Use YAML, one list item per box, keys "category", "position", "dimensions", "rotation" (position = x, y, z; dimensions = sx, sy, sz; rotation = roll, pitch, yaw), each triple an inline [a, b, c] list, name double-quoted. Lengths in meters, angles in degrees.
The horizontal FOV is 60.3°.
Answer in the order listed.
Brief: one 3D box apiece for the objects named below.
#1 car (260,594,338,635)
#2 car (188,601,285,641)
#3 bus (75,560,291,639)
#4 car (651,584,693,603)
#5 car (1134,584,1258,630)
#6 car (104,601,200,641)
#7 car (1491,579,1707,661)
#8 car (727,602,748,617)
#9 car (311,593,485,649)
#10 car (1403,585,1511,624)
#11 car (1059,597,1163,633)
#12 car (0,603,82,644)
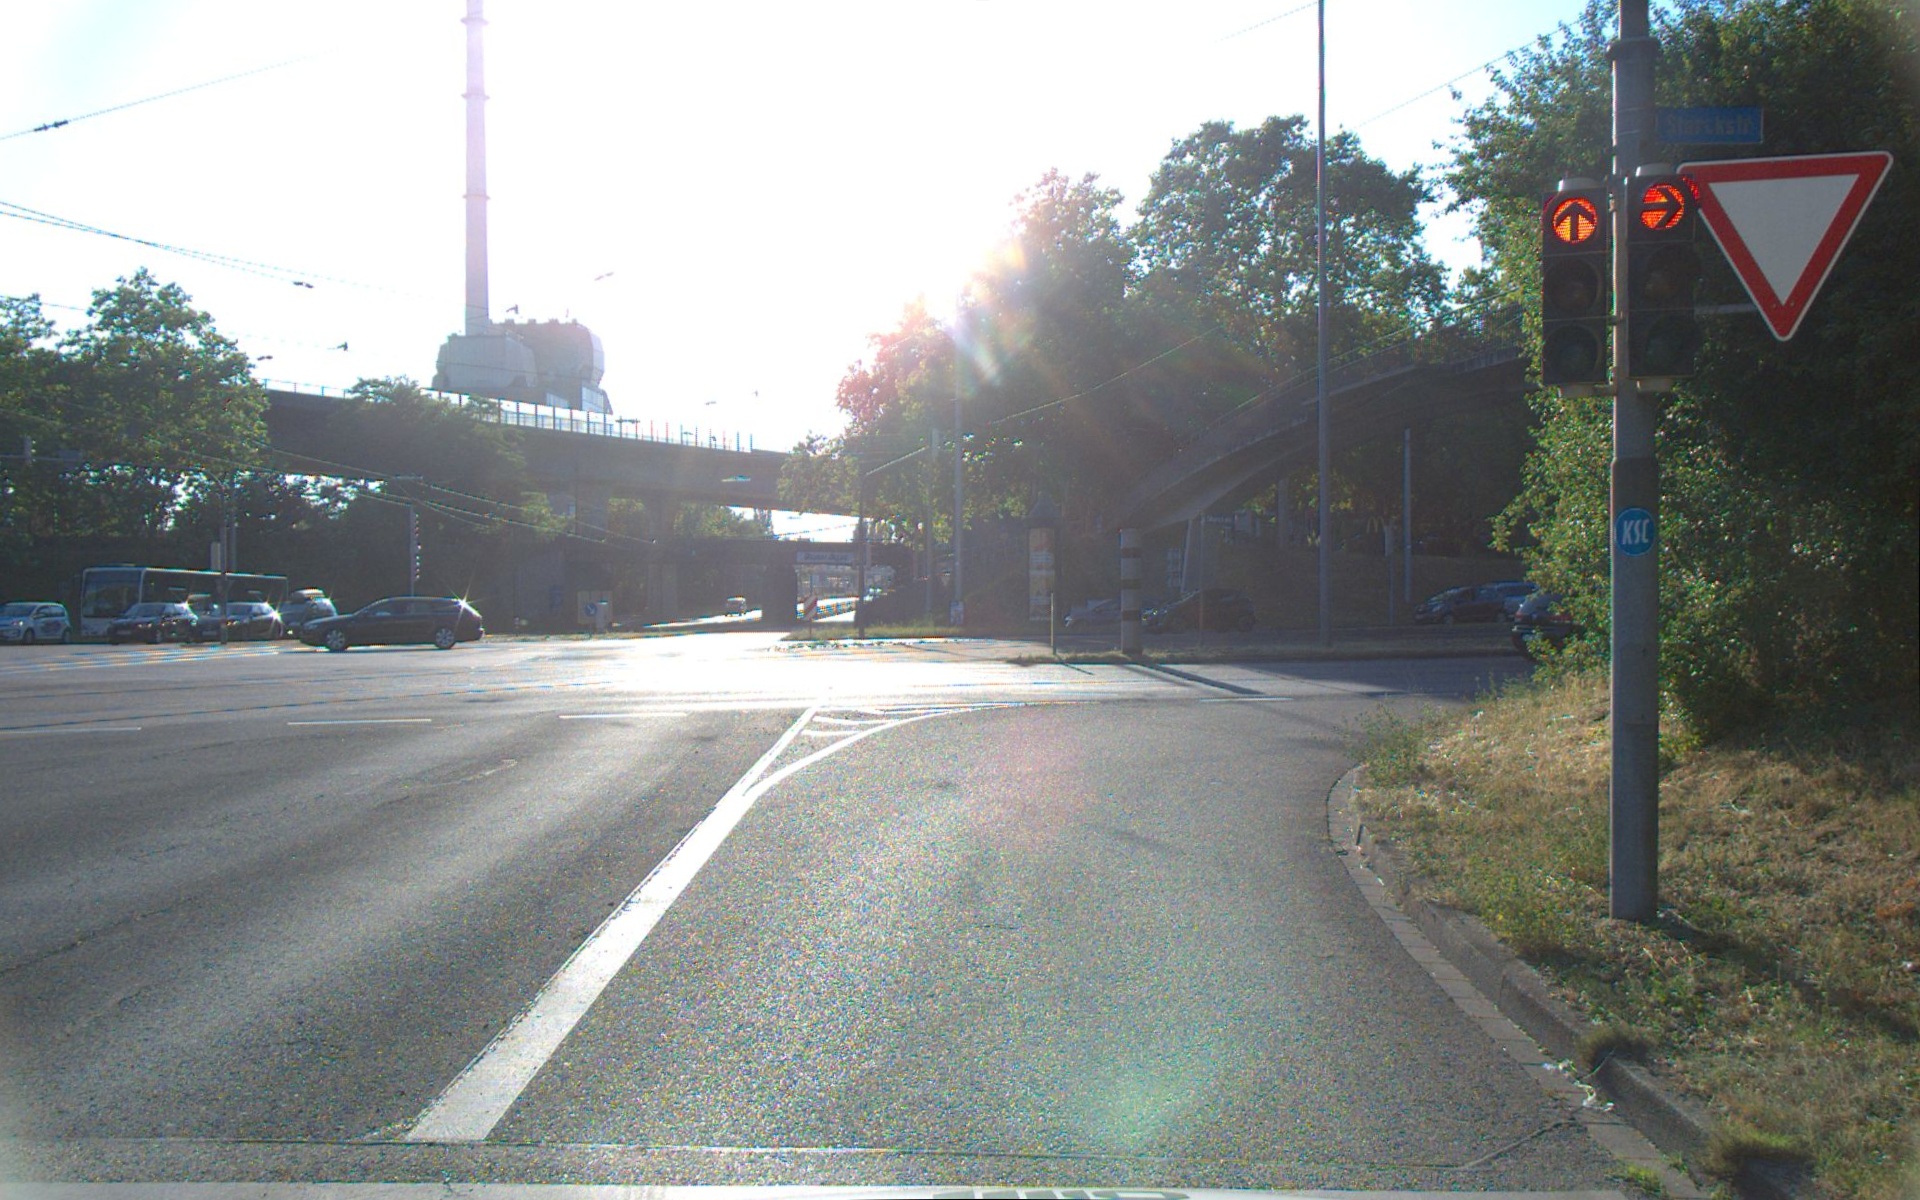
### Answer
- category: "car"
  position: [-28.250, 0.594, 70.827]
  dimensions: [1.676, 1.681, 4.095]
  rotation: [0, 0, 0]
- category: "car"
  position: [-25.731, 0.714, 58.978]
  dimensions: [1.676, 1.378, 4.095]
  rotation: [0, 0, 0]
- category: "bus"
  position: [-32.117, -0.033, 69.288]
  dimensions: [2.764, 3.006, 12.855]
  rotation: [0, 0, 1]
- category: "car"
  position: [-28.630, -0.648, 164.484]
  dimensions: [1.957, 1.802, 3.991]
  rotation: [1, 0, 31]
- category: "car"
  position: [7.681, 0.230, 53.902]
  dimensions: [3.666, 1.447, 1.687]
  rotation: [0, 0, -20]
- category: "car"
  position: [-28.459, 0.723, 58.400]
  dimensions: [1.572, 1.378, 3.998]
  rotation: [0, 0, -3]
- category: "car"
  position: [12.548, 0.382, 32.486]
  dimensions: [3.850, 1.544, 1.723]
  rotation: [0, 0, -23]
- category: "car"
  position: [-25.422, 1.047, 189.007]
  dimensions: [1.675, 1.681, 4.096]
  rotation: [0, 0, 2]
- category: "car"
  position: [-15.481, 0.571, 45.712]
  dimensions: [4.452, 1.479, 1.989]
  rotation: [0, 0, -20]
- category: "car"
  position: [18.811, 0.176, 62.578]
  dimensions: [3.666, 1.447, 1.687]
  rotation: [0, 0, -20]
- category: "car"
  position: [6.316, 0.617, 68.973]
  dimensions: [4.050, 1.447, 1.698]
  rotation: [0, 0, 17]
- category: "car"
  position: [-32.130, 0.802, 57.314]
  dimensions: [1.572, 1.378, 3.732]
  rotation: [0, 0, -3]
